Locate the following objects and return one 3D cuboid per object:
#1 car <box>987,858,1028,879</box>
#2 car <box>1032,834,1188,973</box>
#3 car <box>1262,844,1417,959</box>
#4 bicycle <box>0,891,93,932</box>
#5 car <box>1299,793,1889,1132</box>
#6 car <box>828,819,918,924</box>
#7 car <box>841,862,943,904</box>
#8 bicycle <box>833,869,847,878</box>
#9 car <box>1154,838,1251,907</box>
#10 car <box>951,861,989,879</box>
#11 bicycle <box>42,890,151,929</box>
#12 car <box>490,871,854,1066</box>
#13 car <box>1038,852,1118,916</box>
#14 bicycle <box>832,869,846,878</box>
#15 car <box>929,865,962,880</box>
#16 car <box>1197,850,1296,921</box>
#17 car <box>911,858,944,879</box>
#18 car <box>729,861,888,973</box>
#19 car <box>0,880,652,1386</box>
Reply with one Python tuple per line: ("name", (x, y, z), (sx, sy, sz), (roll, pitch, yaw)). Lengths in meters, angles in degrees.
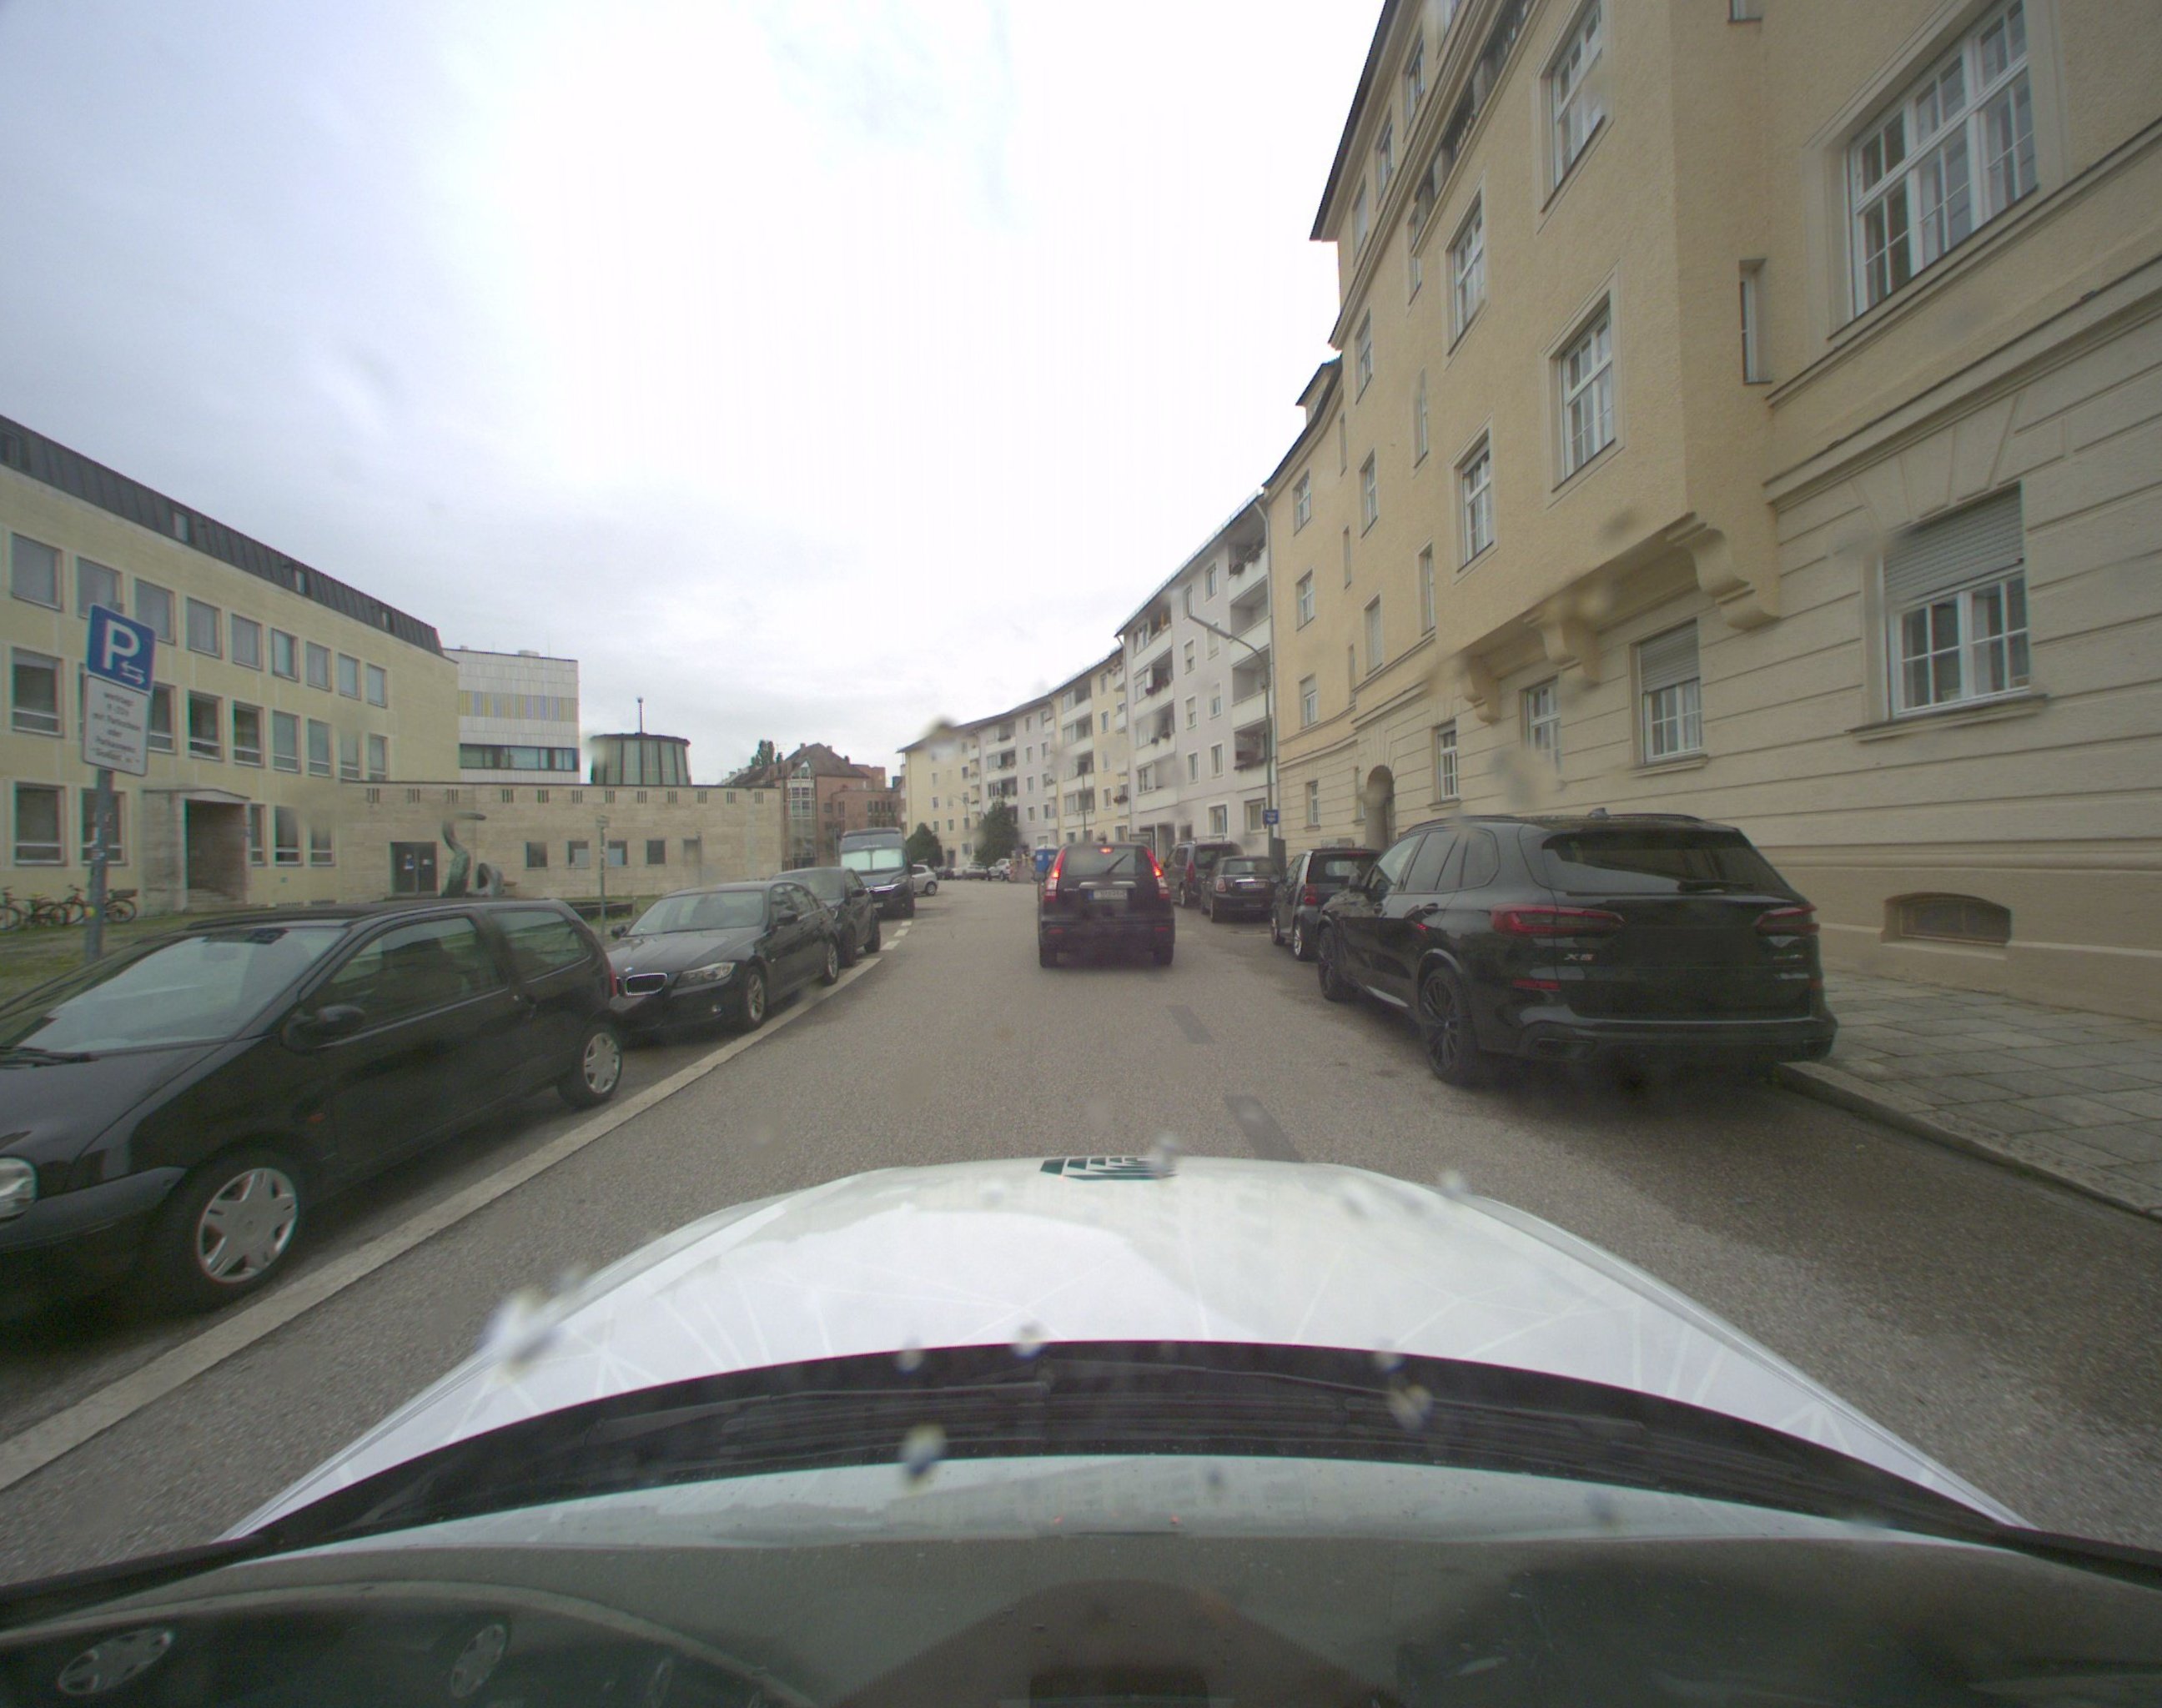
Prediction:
("car", (-5.473, 1.088, 60.573), (1.733, 1.483, 3.966), (-1, 0, -26))
("car", (0.322, 0.622, 12.062), (1.885, 1.647, 3.989), (-2, 0, -1))
("car", (3.782, 0.643, 12.401), (1.528, 1.524, 3.113), (0, 0, 3))
("bicycle", (-28.488, 1.576, 22.221), (1.949, 1.014, 0.623), (-2, 0, -13))
("car", (3.254, 0.566, 6.585), (1.861, 1.717, 4.868), (0, 0, 2))
("car", (-6.080, 0.472, 24.420), (2.166, 2.641, 5.992), (-3, 0, -12))
("car", (-8.432, 1.277, 36.600), (1.663, 1.481, 4.113), (-7, -1, 41))
("bicycle", (-33.834, 2.745, 114.461), (1.764, 1.288, 0.548), (-1, -1, -29))
("car", (3.432, 0.496, 23.784), (1.775, 1.807, 4.266), (0, 0, -6))
("car", (-9.470, 1.344, 69.456), (1.736, 1.483, 3.960), (-1, 0, -32))
("bicycle", (-28.547, 1.590, 23.644), (1.953, 1.014, 0.621), (-2, 0, -20))
("car", (-3.982, 0.984, 8.935), (1.794, 1.406, 4.451), (-4, 0, -2))
("car", (-0.183, 0.734, 21.708), (1.677, 1.481, 4.077), (-2, 0, -6))
("bicycle", (-34.143, 2.783, 115.045), (1.764, 1.288, 0.548), (-1, -1, -29))
("car", (-12.256, 1.653, 73.699), (1.709, 1.236, 3.565), (-1, 0, -32))
("car", (3.696, 0.657, 18.754), (1.701, 1.447, 3.833), (0, 0, 3))
("car", (-14.619, 1.357, 77.567), (1.736, 1.878, 3.960), (-1, 0, -32))
("car", (-4.287, 0.924, 13.268), (1.667, 1.502, 2.973), (-4, 0, -4))
("car", (-3.923, 0.960, 4.168), (1.652, 1.453, 3.311), (-4, 0, -1))
